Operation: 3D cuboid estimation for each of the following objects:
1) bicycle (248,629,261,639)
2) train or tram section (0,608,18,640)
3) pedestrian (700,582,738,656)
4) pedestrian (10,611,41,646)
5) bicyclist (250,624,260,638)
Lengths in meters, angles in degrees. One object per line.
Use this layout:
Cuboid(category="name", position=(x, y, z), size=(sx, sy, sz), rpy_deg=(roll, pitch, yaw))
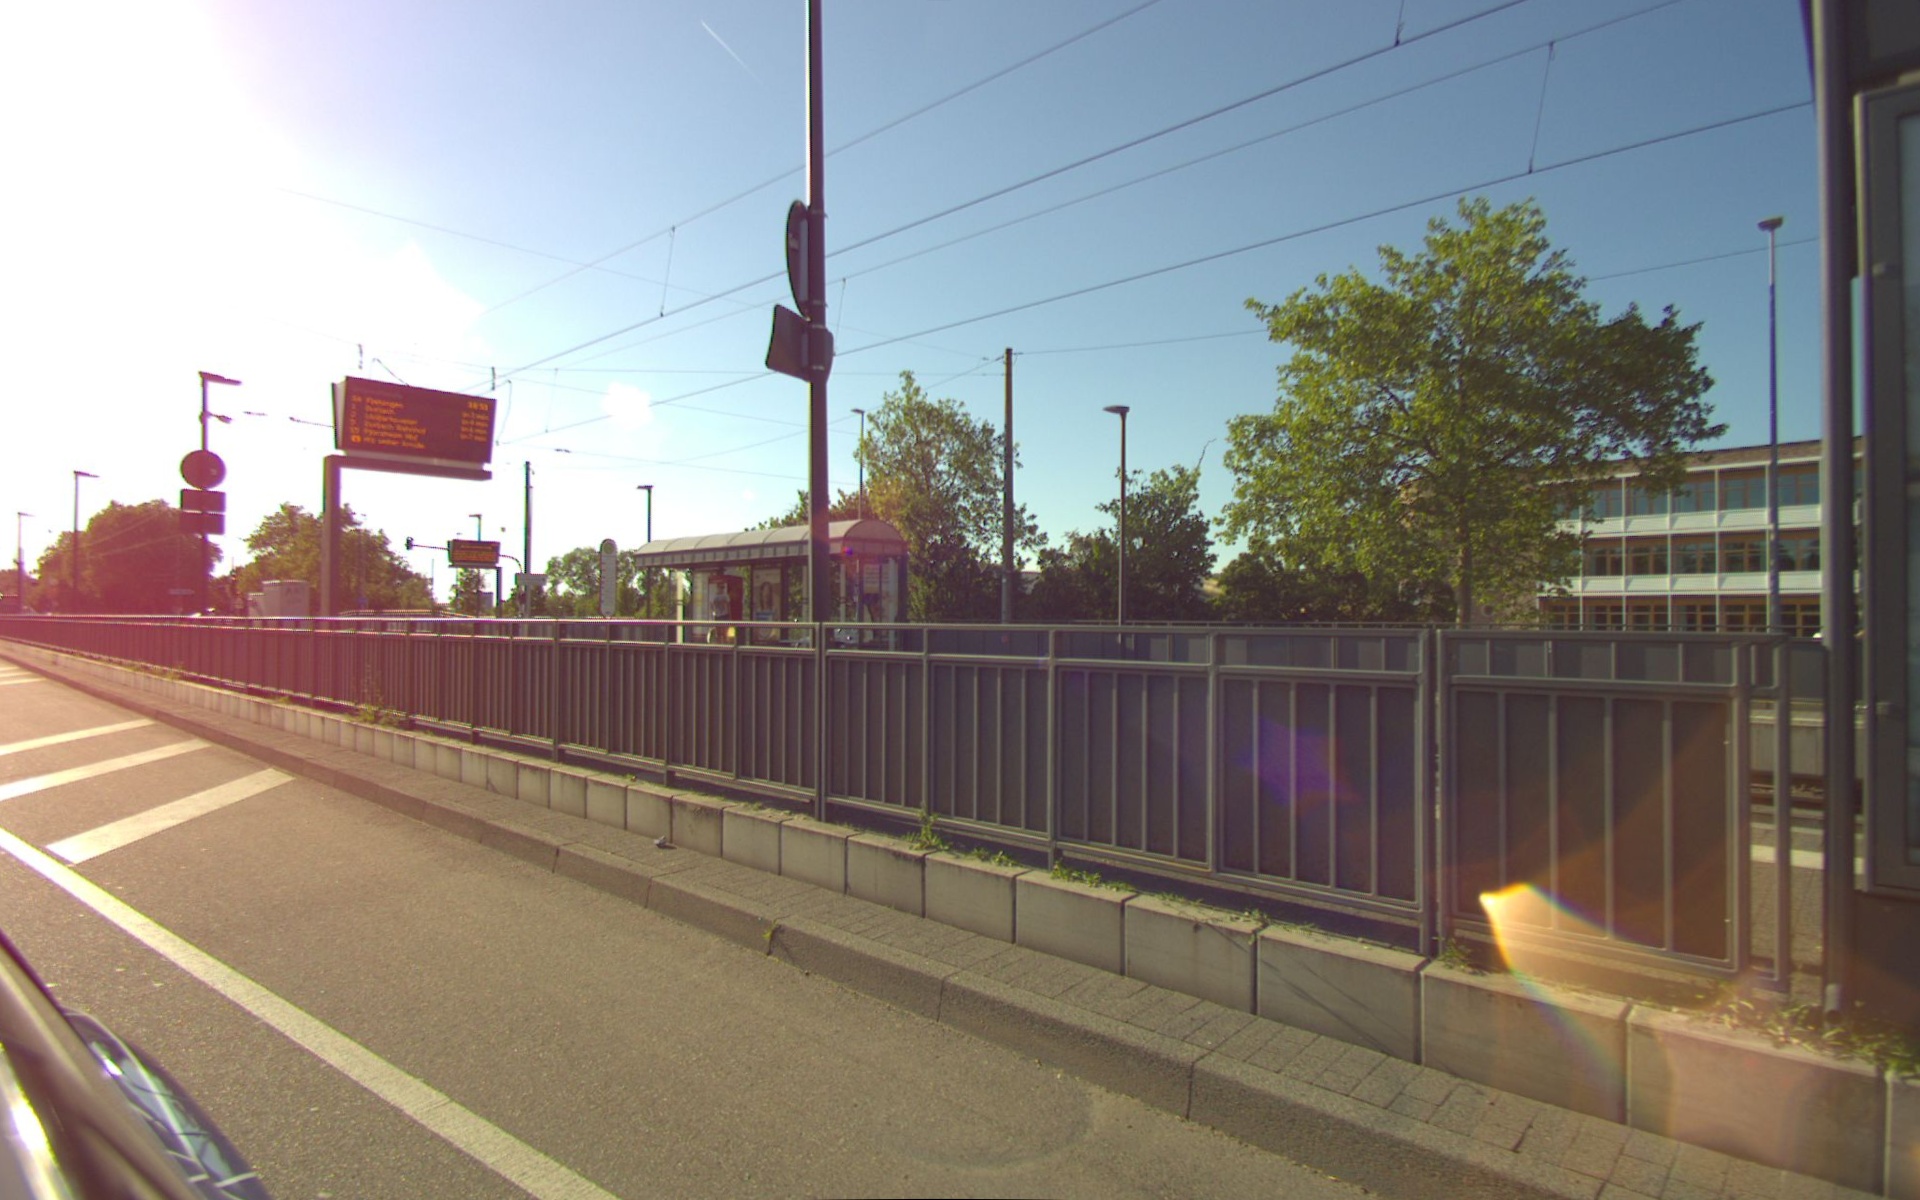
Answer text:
Cuboid(category="bicycle", position=(-77.890, 3.757, 111.730), size=(2.528, 1.136, 0.624), rpy_deg=(-1, -2, 43))
Cuboid(category="train or tram section", position=(-121.831, 3.021, 128.191), size=(12.112, 3.977, 2.852), rpy_deg=(-1, -1, 43))
Cuboid(category="pedestrian", position=(-5.825, 0.455, 24.492), size=(0.696, 1.770, 0.584), rpy_deg=(-1, -1, 21))
Cuboid(category="pedestrian", position=(-45.490, 1.388, 49.280), size=(0.984, 1.657, 0.882), rpy_deg=(-1, -2, 35))
Cuboid(category="bicyclist", position=(-77.826, 3.413, 111.697), size=(0.835, 1.629, 0.760), rpy_deg=(-1, -2, 43))
